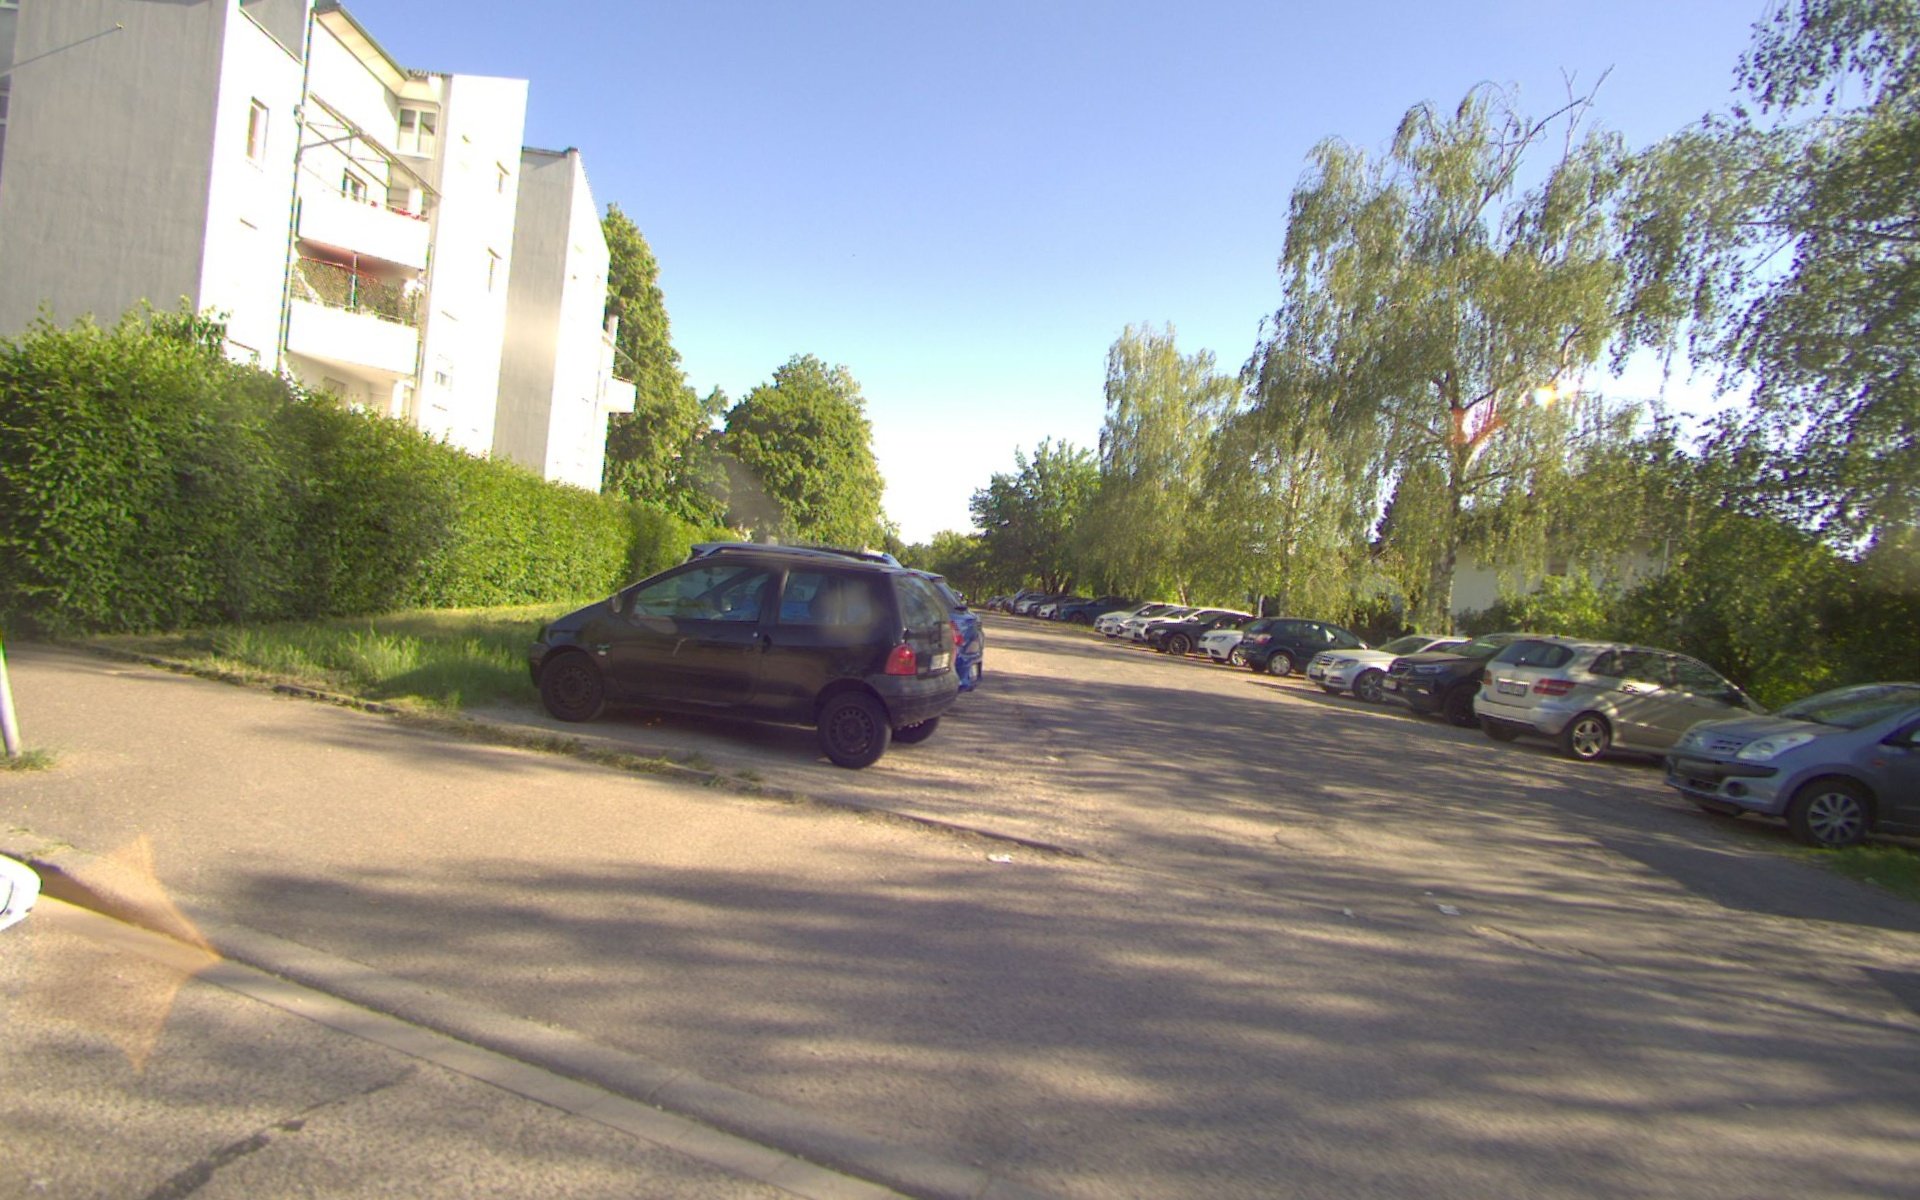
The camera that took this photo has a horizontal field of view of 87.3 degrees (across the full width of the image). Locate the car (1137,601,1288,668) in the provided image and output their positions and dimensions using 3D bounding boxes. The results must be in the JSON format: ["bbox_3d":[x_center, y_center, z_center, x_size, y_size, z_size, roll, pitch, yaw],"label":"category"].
[{"bbox_3d":[7.454,0.996,29.990,3.926,1.418,1.797,7,0,1],"label":"car"}]

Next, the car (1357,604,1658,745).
[{"bbox_3d":[9.158,1.224,16.990,4.047,1.728,1.786,7,2,-9],"label":"car"}]

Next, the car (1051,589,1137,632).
[{"bbox_3d":[6.655,0.540,50.278,3.926,1.605,1.797,7,1,1],"label":"car"}]

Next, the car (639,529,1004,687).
[{"bbox_3d":[-1.895,0.093,14.718,4.913,1.676,1.783,6,1,3],"label":"car"}]

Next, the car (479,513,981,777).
[{"bbox_3d":[-1.780,0.285,8.187,3.466,1.485,1.703,7,2,14],"label":"car"}]

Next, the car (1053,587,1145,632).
[{"bbox_3d":[6.487,0.447,47.273,3.926,1.605,1.797,7,1,1],"label":"car"}]

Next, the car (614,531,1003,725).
[{"bbox_3d":[-1.515,0.250,10.663,3.621,1.516,1.651,6,1,10],"label":"car"}]

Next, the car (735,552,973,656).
[{"bbox_3d":[-1.920,0.071,18.648,4.082,1.473,1.617,5,1,-5],"label":"car"}]

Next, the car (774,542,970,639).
[{"bbox_3d":[-2.092,-0.241,24.803,4.452,1.794,1.846,7,1,2],"label":"car"}]

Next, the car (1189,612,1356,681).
[{"bbox_3d":[8.470,1.243,27.572,3.925,1.294,1.798,7,0,3],"label":"car"}]

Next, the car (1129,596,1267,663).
[{"bbox_3d":[7.725,0.941,32.870,3.926,1.605,1.797,7,1,1],"label":"car"}]

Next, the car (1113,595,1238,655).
[{"bbox_3d":[7.633,0.874,35.901,3.926,1.605,1.797,7,1,1],"label":"car"}]

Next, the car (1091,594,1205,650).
[{"bbox_3d":[7.176,0.813,38.690,3.926,1.605,1.797,7,1,1],"label":"car"}]

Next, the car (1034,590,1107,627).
[{"bbox_3d":[6.372,0.467,58.281,3.926,1.605,1.797,7,1,1],"label":"car"}]

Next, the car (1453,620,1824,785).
[{"bbox_3d":[9.397,1.396,14.109,3.996,1.624,1.786,7,2,-8],"label":"car"}]

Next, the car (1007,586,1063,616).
[{"bbox_3d":[5.659,0.113,75.798,3.926,1.730,1.797,7,1,1],"label":"car"}]

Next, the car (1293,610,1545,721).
[{"bbox_3d":[8.929,1.262,19.742,4.047,1.519,1.786,7,2,-9],"label":"car"}]

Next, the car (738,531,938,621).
[{"bbox_3d":[-3.957,-0.779,33.351,6.164,2.174,2.408,7,1,-5],"label":"car"}]

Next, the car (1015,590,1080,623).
[{"bbox_3d":[5.719,0.417,66.065,3.926,1.605,1.797,7,1,1],"label":"car"}]

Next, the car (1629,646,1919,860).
[{"bbox_3d":[8.382,1.424,8.583,3.988,1.457,1.635,8,1,10],"label":"car"}]

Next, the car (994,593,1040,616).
[{"bbox_3d":[5.187,0.386,91.163,3.926,1.605,1.797,7,1,1],"label":"car"}]

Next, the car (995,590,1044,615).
[{"bbox_3d":[4.970,0.227,84.706,3.926,1.605,1.797,7,1,1],"label":"car"}]

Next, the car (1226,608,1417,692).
[{"bbox_3d":[8.913,1.207,25.089,3.925,1.522,1.948,7,0,3],"label":"car"}]
